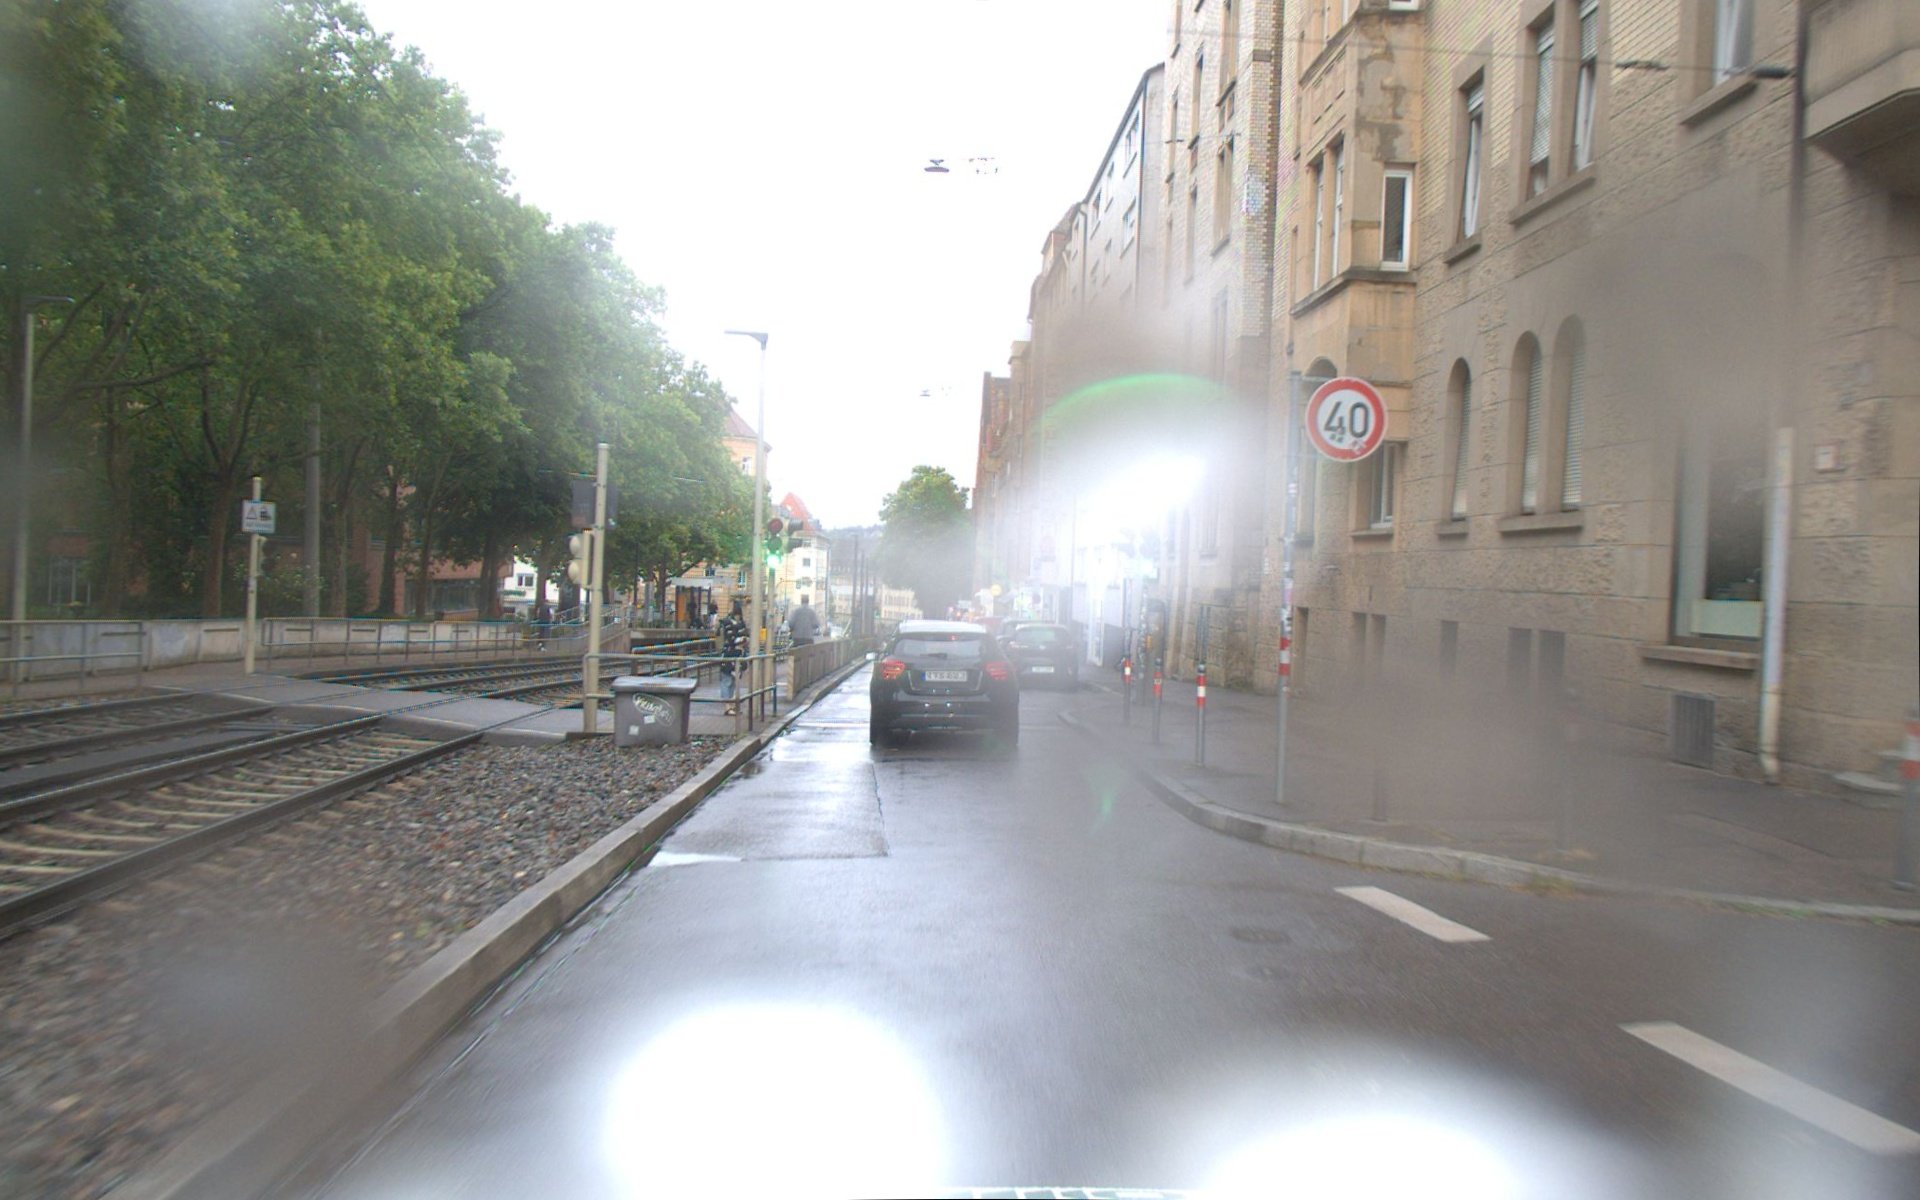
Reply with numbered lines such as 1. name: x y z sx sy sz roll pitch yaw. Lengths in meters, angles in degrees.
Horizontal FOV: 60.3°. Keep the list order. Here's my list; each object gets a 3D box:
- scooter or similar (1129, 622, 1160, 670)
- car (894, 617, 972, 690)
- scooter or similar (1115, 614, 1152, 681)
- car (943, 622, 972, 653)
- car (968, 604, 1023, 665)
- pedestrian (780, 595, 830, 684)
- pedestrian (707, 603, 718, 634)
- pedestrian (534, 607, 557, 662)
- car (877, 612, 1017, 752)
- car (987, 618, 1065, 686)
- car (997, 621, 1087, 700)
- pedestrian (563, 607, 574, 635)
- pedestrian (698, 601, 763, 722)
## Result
1. scooter or similar: 5.501 1.359 49.328 0.440 1.344 1.774 -1 0 -9
2. car: -0.657 1.223 39.125 1.749 1.609 3.999 1 0 -2
3. scooter or similar: 3.620 0.981 34.674 0.440 1.344 1.776 -1 0 -4
4. car: -0.209 2.588 116.141 1.953 2.049 3.999 -1 0 -1
5. car: 1.219 1.172 58.303 1.724 2.049 3.999 -1 0 -2
6. pedestrian: -3.644 0.903 38.851 1.115 2.033 1.171 -1 0 -6
7. pedestrian: -13.926 1.048 93.043 0.508 1.747 0.550 2 -1 -2
8. pedestrian: -13.610 1.128 54.293 0.523 1.784 0.607 2 -1 -1
9. car: -0.212 0.931 20.225 1.548 1.531 3.573 1 0 -2
10. car: 1.671 1.300 42.850 1.724 1.606 3.999 -1 0 -2
11. car: 1.869 1.368 38.589 1.790 1.646 3.863 -1 0 -2
12. pedestrian: -22.783 1.219 96.309 0.508 1.624 0.600 0 -1 -1
13. pedestrian: -3.223 0.850 23.318 0.789 1.662 0.892 -1 0 -1
